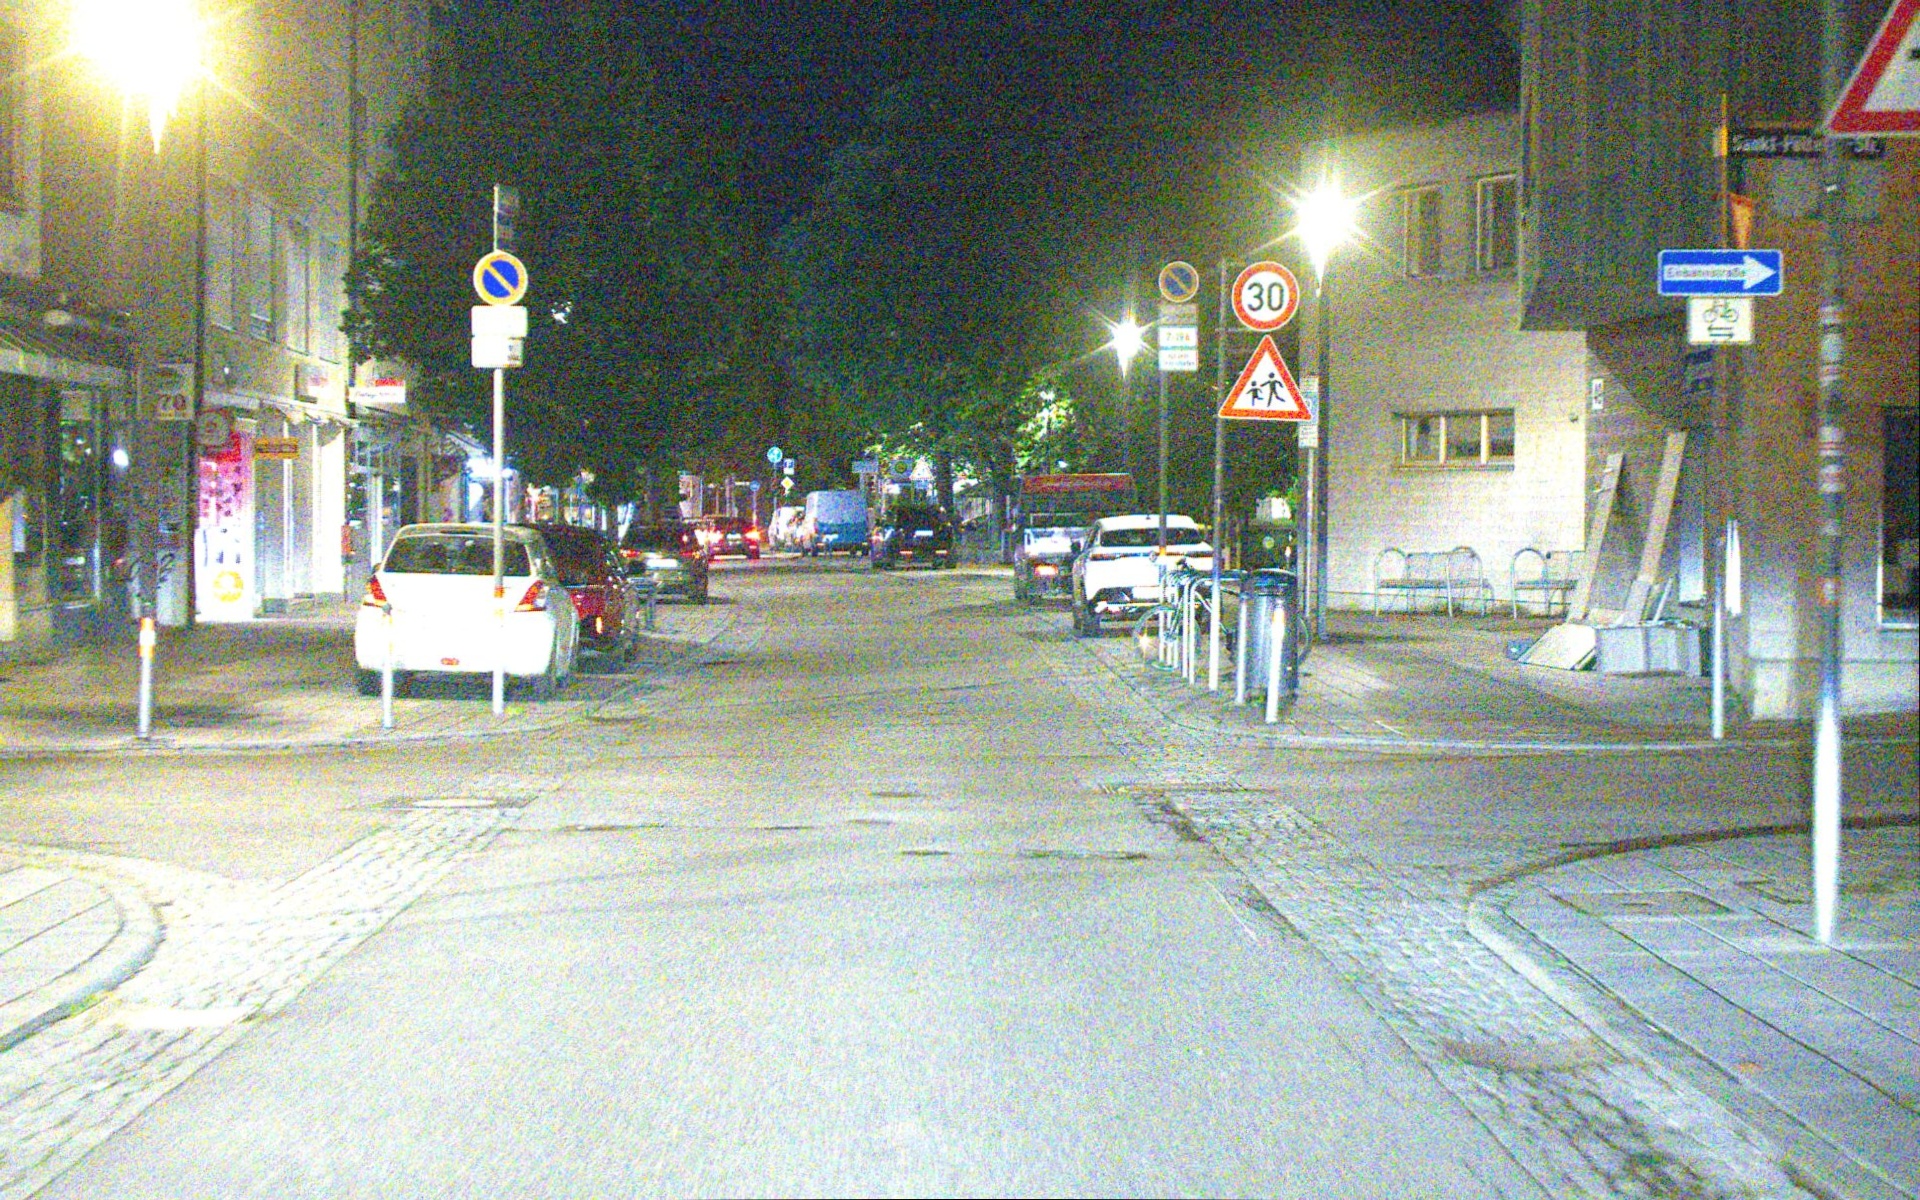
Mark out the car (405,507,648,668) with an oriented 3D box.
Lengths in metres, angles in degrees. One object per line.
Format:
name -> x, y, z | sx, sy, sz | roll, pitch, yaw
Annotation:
car -> -4.478, -0.185, 36.228 | 2.019, 1.483, 5.008 | 3, 1, -2

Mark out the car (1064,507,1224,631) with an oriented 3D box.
car -> 2.332, -0.439, 44.474 | 1.789, 1.486, 4.059 | -1, 1, 0

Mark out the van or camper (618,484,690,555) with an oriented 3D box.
van or camper -> -9.080, -2.398, 101.931 | 1.866, 2.004, 4.263 | 1, 1, -8

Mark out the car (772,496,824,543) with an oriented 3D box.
car -> -6.621, -3.292, 140.155 | 1.839, 1.894, 3.846 | 0, 1, -6

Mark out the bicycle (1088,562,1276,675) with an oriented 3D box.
bicycle -> 2.124, 0.173, 32.921 | 1.754, 1.058, 0.346 | -1, 1, -3

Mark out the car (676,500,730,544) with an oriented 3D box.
car -> -10.056, -3.060, 134.208 | 1.993, 1.697, 4.001 | 0, 1, -6

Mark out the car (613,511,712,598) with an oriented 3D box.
car -> -5.578, -0.878, 64.072 | 1.673, 1.538, 4.232 | 1, 1, -7

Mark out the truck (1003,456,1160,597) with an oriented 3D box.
truck -> 2.043, -1.290, 59.715 | 2.336, 2.304, 5.781 | -1, 2, -2

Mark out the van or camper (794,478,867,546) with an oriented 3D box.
van or camper -> -4.588, -3.112, 121.295 | 2.108, 2.309, 4.263 | -2, 2, -8

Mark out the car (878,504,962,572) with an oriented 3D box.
car -> -1.132, -1.733, 95.055 | 1.814, 1.822, 4.348 | -1, 2, -7

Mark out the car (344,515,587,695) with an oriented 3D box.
car -> -4.342, -0.007, 30.648 | 1.728, 1.471, 3.847 | 1, 1, -2

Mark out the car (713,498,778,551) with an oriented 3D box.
car -> -7.483, -2.641, 119.630 | 1.993, 1.817, 4.001 | 0, 1, -7

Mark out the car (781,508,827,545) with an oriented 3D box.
car -> -6.084, -2.865, 134.142 | 1.531, 1.413, 3.846 | 0, 2, -6
